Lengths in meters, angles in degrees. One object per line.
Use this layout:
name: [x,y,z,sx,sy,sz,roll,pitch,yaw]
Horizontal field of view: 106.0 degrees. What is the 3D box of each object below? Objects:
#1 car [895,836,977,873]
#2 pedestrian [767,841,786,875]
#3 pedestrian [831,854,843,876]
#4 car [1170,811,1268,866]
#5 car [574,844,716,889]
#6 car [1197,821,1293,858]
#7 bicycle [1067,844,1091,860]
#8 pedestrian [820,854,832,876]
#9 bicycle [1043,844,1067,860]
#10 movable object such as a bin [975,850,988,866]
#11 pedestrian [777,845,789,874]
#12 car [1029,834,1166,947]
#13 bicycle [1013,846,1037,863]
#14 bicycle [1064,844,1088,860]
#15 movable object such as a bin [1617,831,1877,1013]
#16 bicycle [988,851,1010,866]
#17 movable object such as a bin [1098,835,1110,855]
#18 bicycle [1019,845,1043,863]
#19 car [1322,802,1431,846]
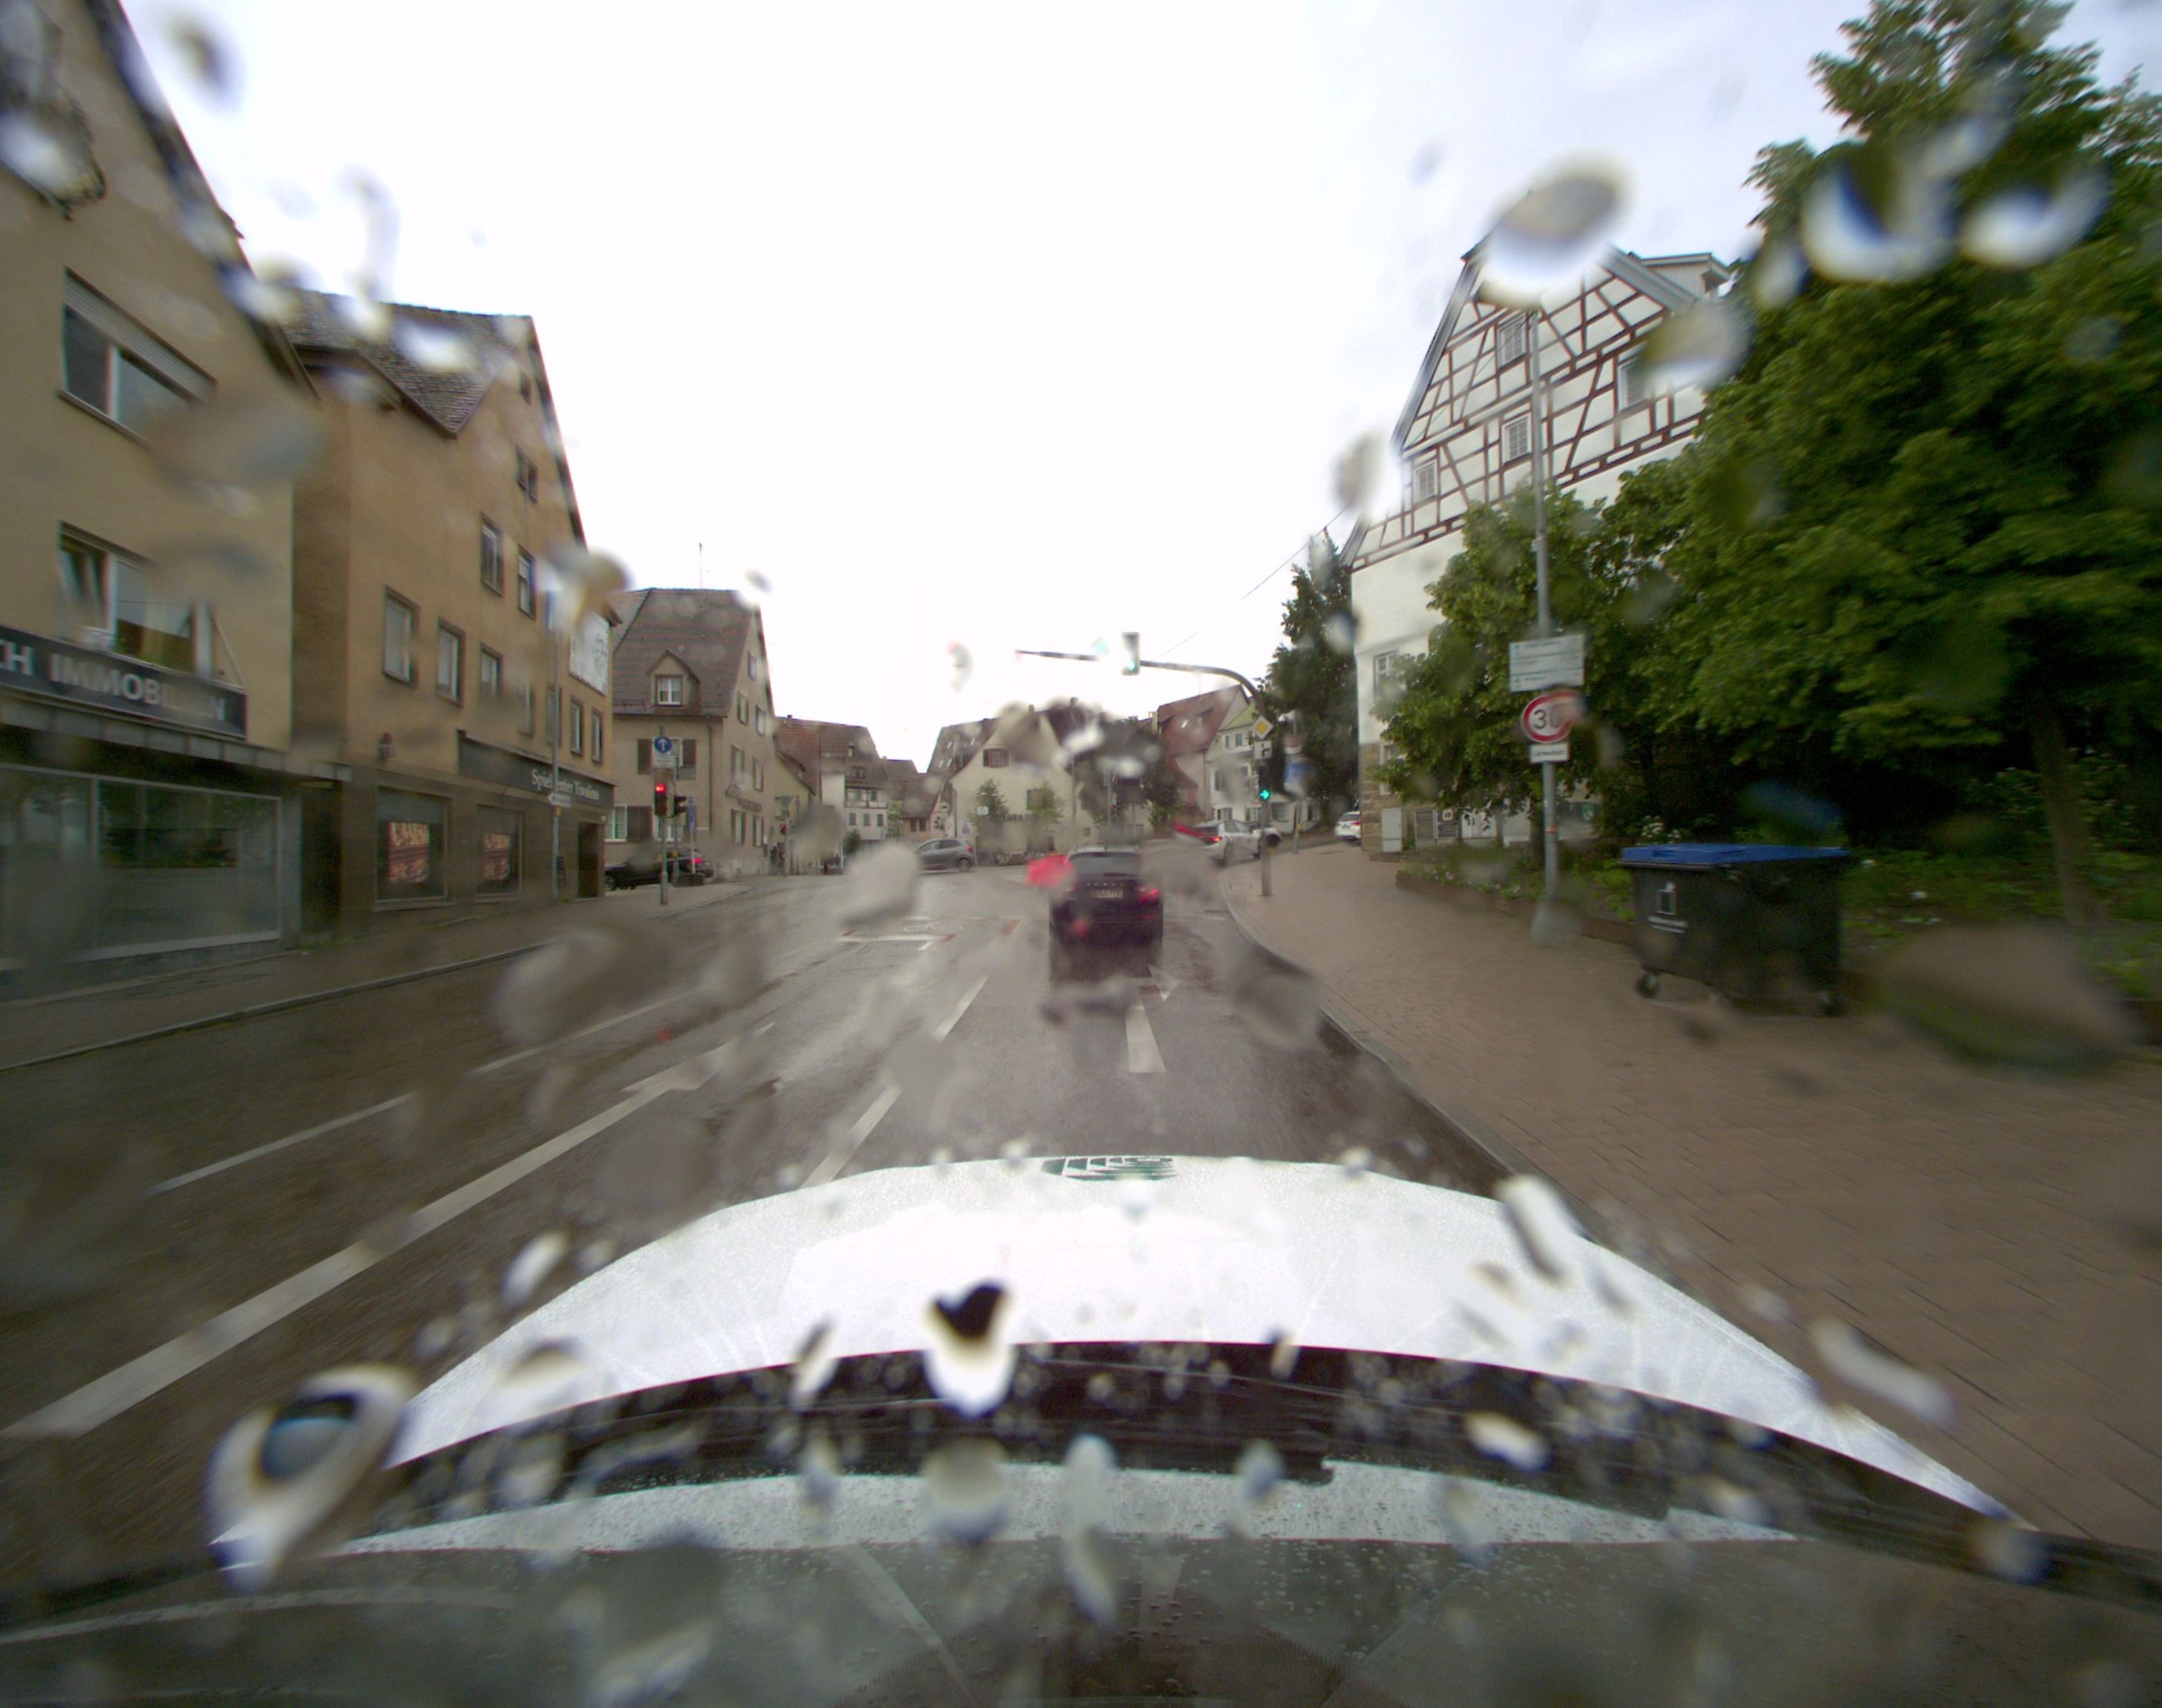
car: [-6.231,-0.011,35.328,3.377,1.477,1.531,-2,2,-8]
pedestrian: [-17.356,0.221,46.405,0.801,1.830,0.708,-5,2,-29]
pedestrian: [-19.687,0.887,65.659,0.779,1.731,0.629,-3,2,-10]
car: [4.994,-0.601,29.022,1.838,1.472,4.028,1,8,35]
car: [-17.748,0.495,33.352,4.733,1.588,1.824,-2,0,-10]
car: [7.757,-0.715,38.682,3.991,1.430,1.992,-5,2,-13]
bicycle: [-0.122,-0.130,50.518,1.475,0.912,0.389,-2,3,-31]
pedestrian: [-20.514,0.895,65.510,0.779,1.731,0.629,-3,2,-10]
bicycle: [-1.566,-0.121,50.009,1.475,0.912,0.389,-2,3,-31]
movable object such as a bin: [-5.934,0.235,48.664,0.590,0.901,0.579,-1,1,-29]
pedestrian: [-17.668,0.333,48.297,0.553,1.729,0.537,-1,-1,-4]
car: [0.290,0.475,13.932,1.880,1.447,4.359,-4,2,1]
bicycle: [-3.347,0.019,48.616,1.478,0.912,0.388,-6,3,-43]
bicycle: [-0.303,-0.121,50.899,1.475,0.912,0.389,-2,3,-31]
movable object such as a bin: [5.238,0.502,6.535,1.148,1.313,1.189,-1,0,8]
bicycle: [-4.782,0.246,47.588,0.334,0.818,1.446,2,4,38]
movable object such as a bin: [1.454,-0.592,52.122,0.682,1.276,0.747,0,1,-5]
bicycle: [-2.962,0.008,48.331,1.478,0.912,0.388,-6,3,-43]
car: [12.975,-1.332,35.770,4.332,1.595,1.876,-5,2,-24]
